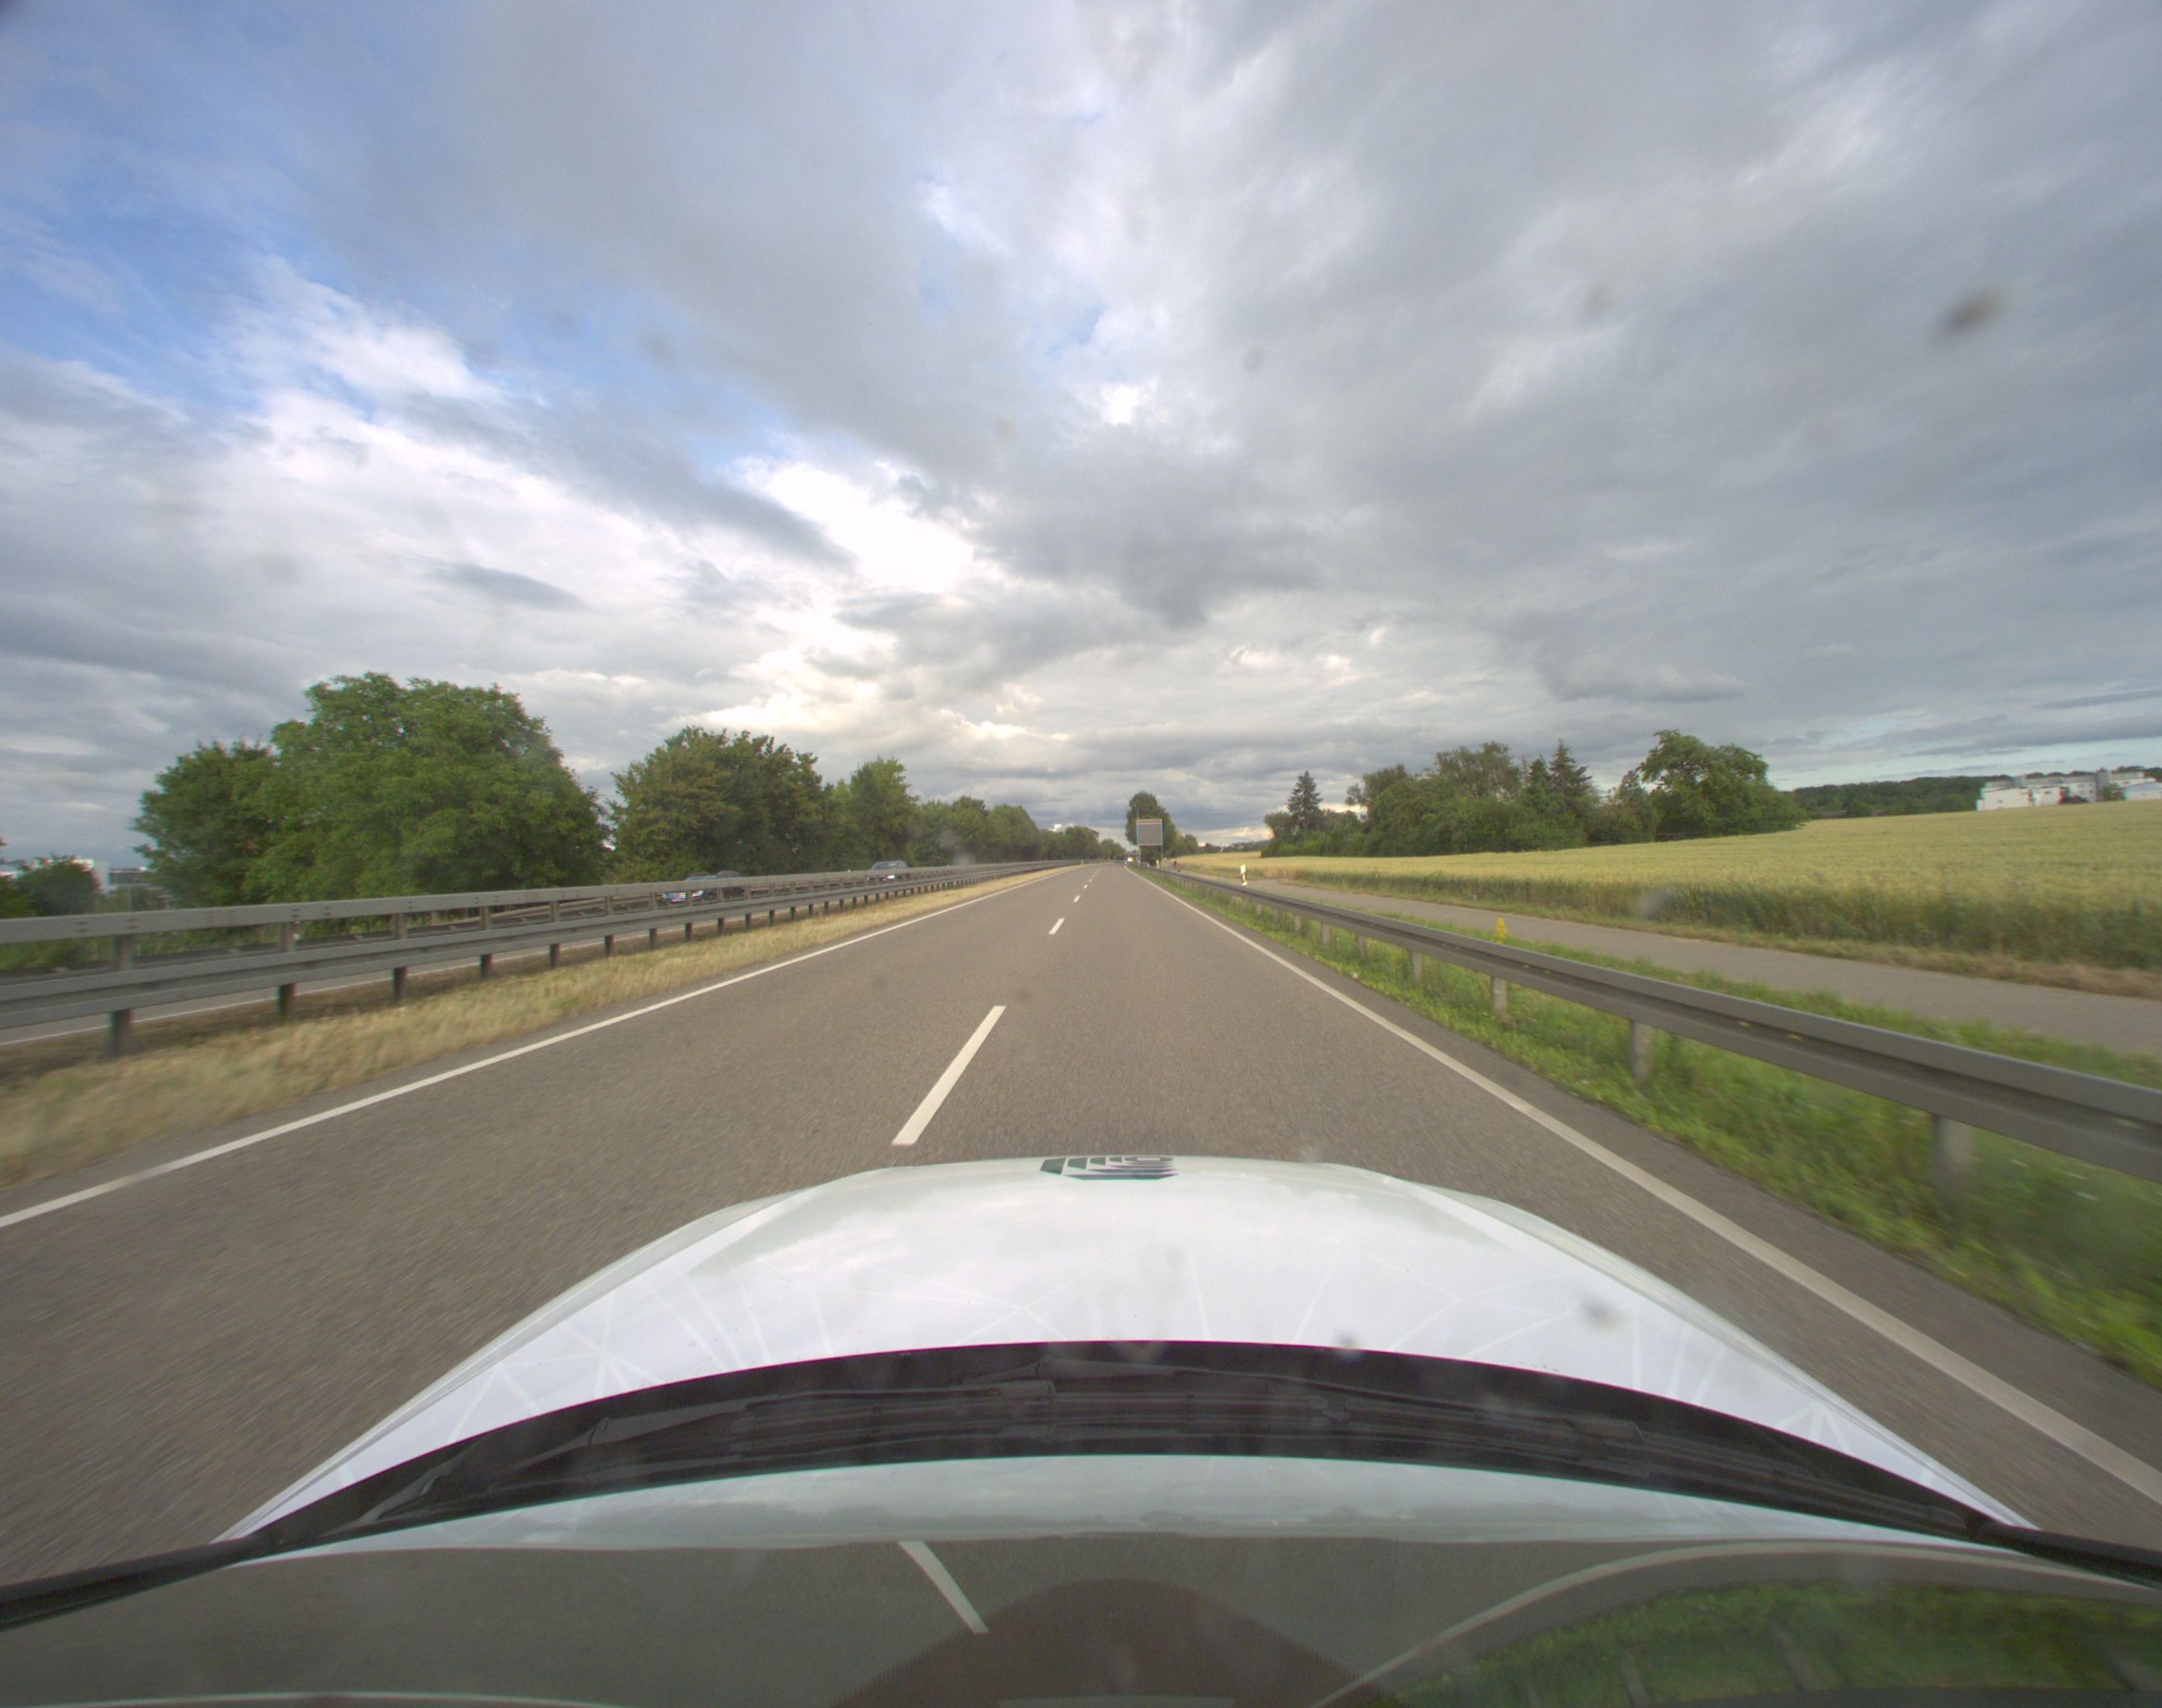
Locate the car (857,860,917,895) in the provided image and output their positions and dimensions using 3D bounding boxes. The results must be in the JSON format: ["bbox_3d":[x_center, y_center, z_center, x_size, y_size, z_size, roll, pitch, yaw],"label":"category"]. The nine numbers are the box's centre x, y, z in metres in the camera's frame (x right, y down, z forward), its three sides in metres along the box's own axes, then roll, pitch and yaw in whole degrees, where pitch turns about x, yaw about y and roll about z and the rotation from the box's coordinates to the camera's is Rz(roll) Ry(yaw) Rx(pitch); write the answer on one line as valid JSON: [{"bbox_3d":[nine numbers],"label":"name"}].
[{"bbox_3d":[-10.179,1.215,43.087,1.790,1.626,4.487,-3,0,3],"label":"car"}]

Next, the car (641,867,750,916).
[{"bbox_3d":[-14.748,1.389,31.474,1.790,1.626,4.487,-3,0,3],"label":"car"}]

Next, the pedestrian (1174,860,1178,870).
[{"bbox_3d":[14.981,1.744,128.846,0.599,1.666,0.542,0,-1,0],"label":"pedestrian"}]
